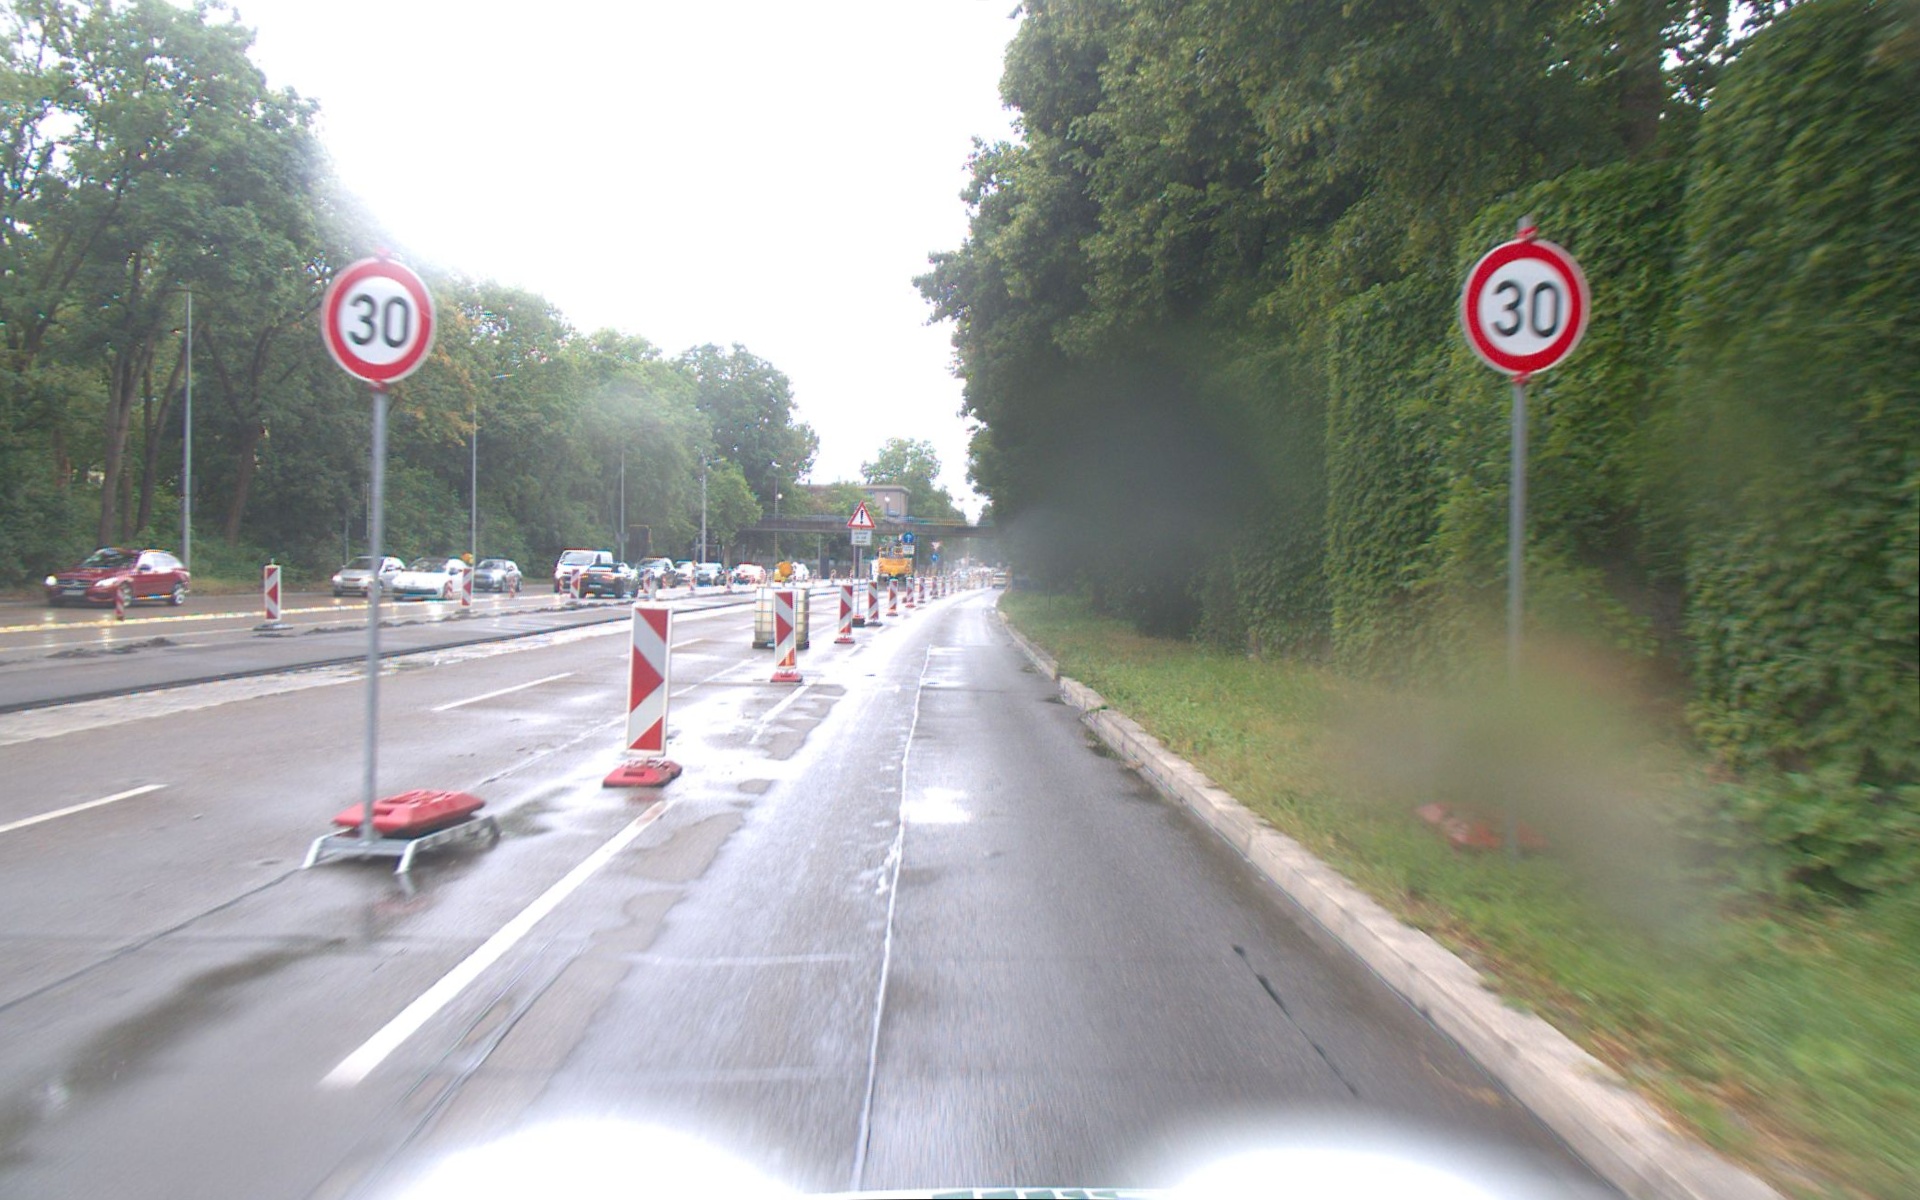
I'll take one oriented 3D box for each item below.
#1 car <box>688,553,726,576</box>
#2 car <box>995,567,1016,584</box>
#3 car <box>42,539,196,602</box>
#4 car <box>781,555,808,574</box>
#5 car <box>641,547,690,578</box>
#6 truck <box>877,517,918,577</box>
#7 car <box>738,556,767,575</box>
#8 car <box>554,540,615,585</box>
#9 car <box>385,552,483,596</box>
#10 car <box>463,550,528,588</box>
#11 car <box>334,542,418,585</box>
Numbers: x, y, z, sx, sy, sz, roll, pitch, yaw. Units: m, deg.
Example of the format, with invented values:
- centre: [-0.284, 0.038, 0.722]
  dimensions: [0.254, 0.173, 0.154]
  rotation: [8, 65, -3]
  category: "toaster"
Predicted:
- centre: [-16.923, -2.389, 110.770]
  dimensions: [1.740, 1.513, 4.198]
  rotation: [1, 1, 1]
  category: "car"
- centre: [4.557, -2.446, 163.700]
  dimensions: [1.952, 1.668, 4.002]
  rotation: [0, 1, 3]
  category: "car"
- centre: [-21.312, -0.765, 42.115]
  dimensions: [1.694, 1.501, 4.486]
  rotation: [1, 1, -1]
  category: "car"
- centre: [-14.933, -3.229, 149.690]
  dimensions: [1.851, 1.690, 4.894]
  rotation: [2, 1, 0]
  category: "car"
- centre: [-17.661, -2.245, 99.356]
  dimensions: [1.980, 1.755, 5.013]
  rotation: [2, 1, 1]
  category: "car"
- centre: [-4.711, -4.062, 127.209]
  dimensions: [2.839, 4.333, 10.755]
  rotation: [2, 1, -1]
  category: "truck"
- centre: [-16.032, -2.657, 128.124]
  dimensions: [1.644, 1.425, 4.013]
  rotation: [2, 1, 1]
  category: "car"
- centre: [-17.923, -1.799, 79.199]
  dimensions: [1.953, 2.006, 4.901]
  rotation: [2, 1, -2]
  category: "car"
- centre: [-18.193, -0.917, 57.454]
  dimensions: [1.952, 1.440, 4.394]
  rotation: [0, 1, 1]
  category: "car"
- centre: [-20.643, -1.399, 73.704]
  dimensions: [1.790, 1.650, 4.000]
  rotation: [1, 1, 0]
  category: "car"
- centre: [-20.922, -1.301, 59.356]
  dimensions: [1.644, 1.425, 3.640]
  rotation: [2, 1, 1]
  category: "car"
